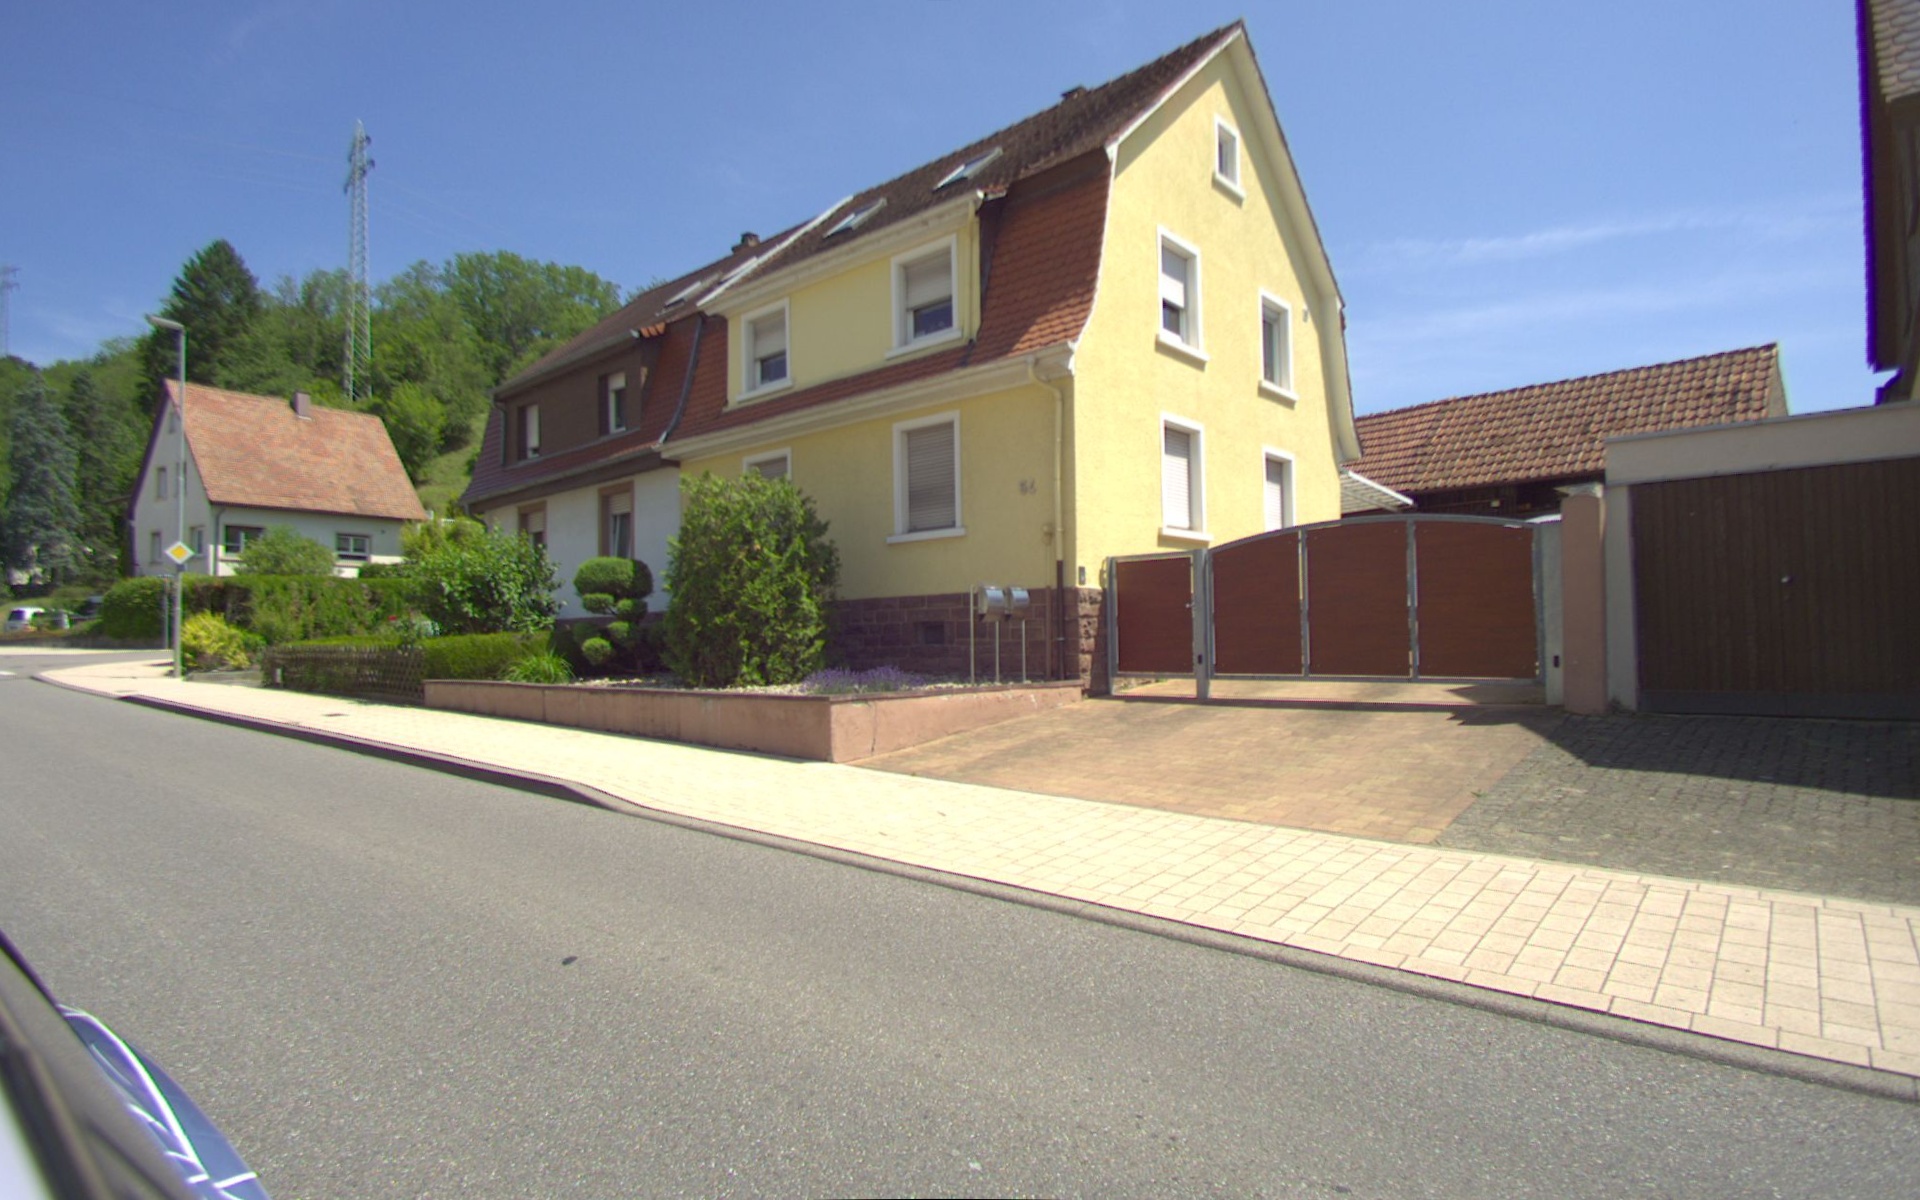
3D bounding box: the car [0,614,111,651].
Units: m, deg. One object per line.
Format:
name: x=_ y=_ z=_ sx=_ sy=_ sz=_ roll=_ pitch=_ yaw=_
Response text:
car: x=-45.279 y=1.586 z=50.620 sx=1.796 sy=1.803 sz=3.977 roll=-1 pitch=-1 yaw=17
